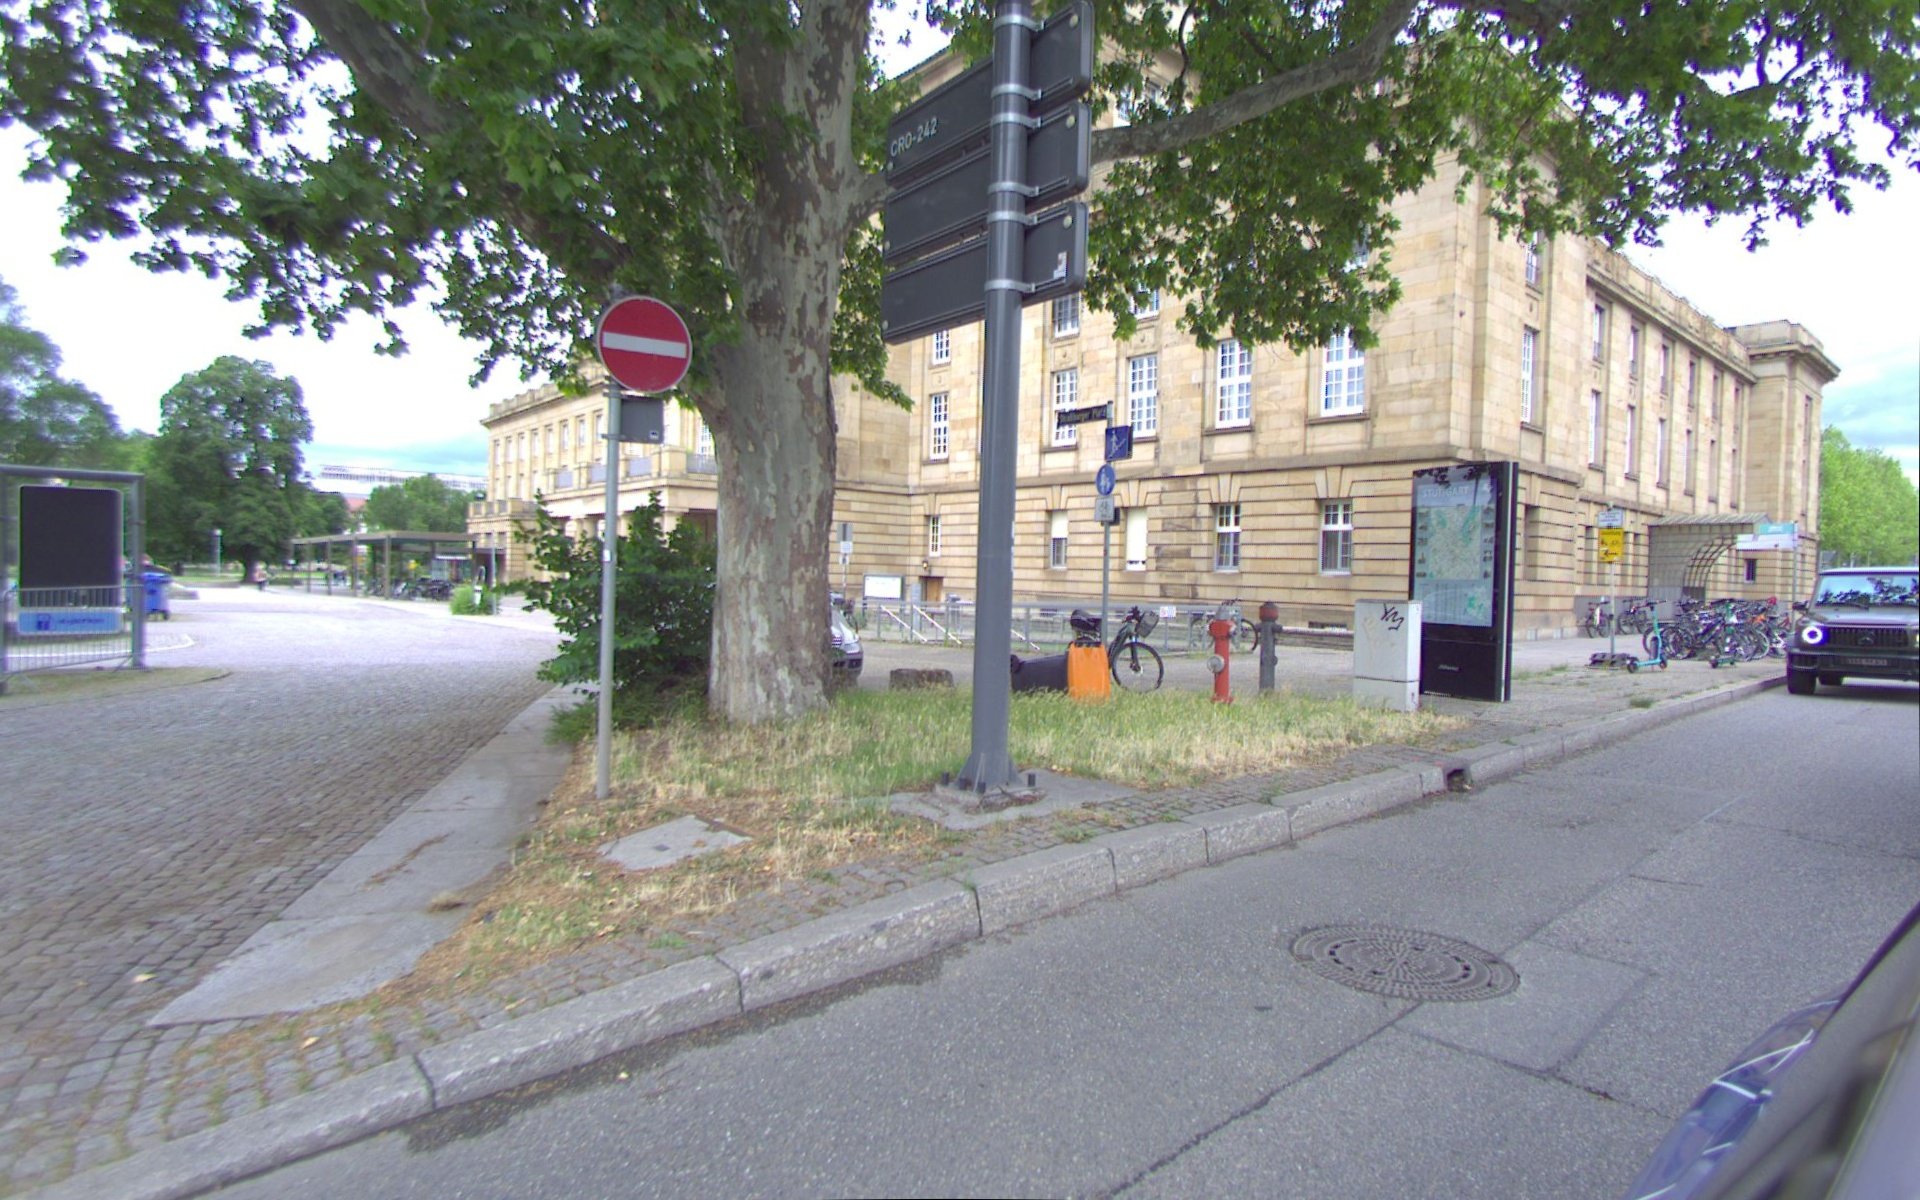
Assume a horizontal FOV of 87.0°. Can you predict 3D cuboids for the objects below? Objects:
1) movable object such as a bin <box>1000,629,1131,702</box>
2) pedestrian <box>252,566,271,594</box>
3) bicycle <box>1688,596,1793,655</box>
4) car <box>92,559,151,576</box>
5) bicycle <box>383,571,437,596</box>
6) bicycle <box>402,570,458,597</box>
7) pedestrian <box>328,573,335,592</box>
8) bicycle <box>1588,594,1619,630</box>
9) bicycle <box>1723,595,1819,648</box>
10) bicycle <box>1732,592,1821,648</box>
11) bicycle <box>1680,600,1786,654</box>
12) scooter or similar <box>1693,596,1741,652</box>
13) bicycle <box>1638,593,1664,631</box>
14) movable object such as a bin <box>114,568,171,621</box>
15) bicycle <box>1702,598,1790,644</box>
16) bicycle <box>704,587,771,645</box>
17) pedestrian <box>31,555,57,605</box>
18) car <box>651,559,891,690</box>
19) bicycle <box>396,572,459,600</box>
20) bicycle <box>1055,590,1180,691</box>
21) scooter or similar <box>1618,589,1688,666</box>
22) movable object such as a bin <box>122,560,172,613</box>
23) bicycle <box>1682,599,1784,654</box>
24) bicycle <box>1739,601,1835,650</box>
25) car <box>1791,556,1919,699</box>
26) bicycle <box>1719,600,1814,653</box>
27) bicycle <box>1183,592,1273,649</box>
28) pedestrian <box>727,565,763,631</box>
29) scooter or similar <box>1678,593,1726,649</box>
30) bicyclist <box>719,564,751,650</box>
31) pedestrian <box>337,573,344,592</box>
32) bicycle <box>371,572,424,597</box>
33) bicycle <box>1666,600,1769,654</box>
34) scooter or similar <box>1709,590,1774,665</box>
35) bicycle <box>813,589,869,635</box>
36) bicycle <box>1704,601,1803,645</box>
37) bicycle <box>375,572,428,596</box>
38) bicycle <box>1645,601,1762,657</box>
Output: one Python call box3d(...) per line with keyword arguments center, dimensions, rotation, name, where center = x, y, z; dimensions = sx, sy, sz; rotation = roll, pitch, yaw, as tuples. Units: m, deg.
box3d(center=(1.090, 0.665, 10.688), dimensions=(0.715, 0.660, 1.304), rotation=(-1, 0, -32), name="movable object such as a bin")
box3d(center=(-47.601, -1.360, 68.983), dimensions=(0.539, 1.828, 0.939), rotation=(-1, 0, 22), name="pedestrian")
box3d(center=(17.064, 0.536, 22.147), dimensions=(0.594, 1.224, 1.759), rotation=(0, 0, -43), name="bicycle")
box3d(center=(-91.597, -3.495, 110.646), dimensions=(4.823, 1.761, 2.077), rotation=(-1, 0, -38), name="car")
box3d(center=(-30.179, -0.912, 55.571), dimensions=(2.534, 1.362, 0.726), rotation=(-1, 0, -41), name="bicycle")
box3d(center=(-28.250, -0.876, 53.999), dimensions=(2.534, 1.362, 0.726), rotation=(-1, 0, -41), name="bicycle")
box3d(center=(-61.862, -1.732, 99.612), dimensions=(0.534, 1.828, 0.654), rotation=(-1, 0, -23), name="pedestrian")
box3d(center=(18.984, 0.331, 29.827), dimensions=(1.929, 1.010, 0.240), rotation=(-1, 1, -42), name="bicycle")
box3d(center=(18.032, 0.472, 22.531), dimensions=(1.596, 1.144, 0.405), rotation=(0, 0, 24), name="bicycle")
box3d(center=(19.048, 0.451, 23.648), dimensions=(0.532, 1.272, 1.550), rotation=(0, 0, -22), name="bicycle")
box3d(center=(16.689, 0.567, 21.896), dimensions=(0.563, 1.105, 1.735), rotation=(0, 0, -32), name="bicycle")
box3d(center=(17.455, 0.543, 23.335), dimensions=(1.286, 1.239, 0.427), rotation=(-1, 0, -31), name="scooter or similar")
box3d(center=(22.410, 0.386, 32.808), dimensions=(1.510, 1.197, 0.276), rotation=(0, 0, -39), name="bicycle")
box3d(center=(-21.130, -0.147, 26.187), dimensions=(1.132, 1.320, 1.412), rotation=(0, 1, -38), name="movable object such as a bin")
box3d(center=(18.328, 0.471, 23.625), dimensions=(0.427, 1.041, 1.570), rotation=(0, 0, -29), name="bicycle")
box3d(center=(-4.665, 0.310, 21.140), dimensions=(1.748, 1.146, 0.437), rotation=(2, 1, 42), name="bicycle")
box3d(center=(-34.130, -0.731, 37.707), dimensions=(0.493, 1.828, 0.544), rotation=(-1, 0, 22), name="pedestrian")
box3d(center=(-2.782, 0.245, 14.266), dimensions=(1.649, 1.588, 3.843), rotation=(0, 1, -40), name="car")
box3d(center=(-28.403, -0.724, 54.042), dimensions=(2.852, 1.443, 0.959), rotation=(-1, 0, -45), name="bicycle")
box3d(center=(2.064, 0.498, 13.490), dimensions=(0.483, 1.236, 1.790), rotation=(0, 1, -38), name="bicycle")
box3d(center=(12.033, 0.460, 17.563), dimensions=(1.405, 1.296, 0.433), rotation=(0, 0, -30), name="scooter or similar")
box3d(center=(-23.968, -0.402, 29.866), dimensions=(1.132, 1.515, 1.412), rotation=(0, 1, -38), name="movable object such as a bin")
box3d(center=(16.426, 0.539, 21.554), dimensions=(0.373, 1.105, 1.736), rotation=(0, 1, -28), name="bicycle")
box3d(center=(19.427, 0.578, 23.814), dimensions=(0.573, 1.087, 1.671), rotation=(0, 1, -21), name="bicycle")
box3d(center=(14.436, 0.362, 15.506), dimensions=(4.322, 1.950, 1.951), rotation=(0, 1, -41), name="car")
box3d(center=(18.040, 0.584, 22.672), dimensions=(1.596, 1.144, 0.466), rotation=(0, 0, 24), name="bicycle")
box3d(center=(5.730, 0.420, 21.750), dimensions=(0.382, 1.139, 2.014), rotation=(0, 1, -41), name="bicycle")
box3d(center=(-5.842, -0.068, 27.448), dimensions=(0.692, 1.743, 0.680), rotation=(0, 1, -42), name="pedestrian")
box3d(center=(17.345, 0.477, 23.657), dimensions=(1.126, 1.295, 0.564), rotation=(0, 0, -35), name="scooter or similar")
box3d(center=(-4.710, 0.141, 21.163), dimensions=(0.436, 1.770, 0.468), rotation=(2, 1, 42), name="bicyclist")
box3d(center=(-61.183, -1.743, 99.934), dimensions=(0.534, 1.828, 0.654), rotation=(-1, 0, -23), name="pedestrian")
box3d(center=(-31.985, -0.893, 57.581), dimensions=(2.534, 1.362, 0.726), rotation=(-1, 0, -41), name="bicycle")
box3d(center=(16.017, 0.547, 21.435), dimensions=(0.417, 1.105, 1.736), rotation=(0, 0, -28), name="bicycle")
box3d(center=(14.485, 0.482, 18.744), dimensions=(1.389, 1.348, 0.726), rotation=(0, 0, -42), name="scooter or similar")
box3d(center=(-2.977, 0.275, 25.061), dimensions=(0.418, 1.114, 2.172), rotation=(0, 0, -34), name="bicycle")
box3d(center=(18.469, 0.521, 23.602), dimensions=(0.601, 0.928, 1.737), rotation=(0, 1, -22), name="bicycle")
box3d(center=(-31.355, -0.899, 56.835), dimensions=(2.534, 1.362, 0.726), rotation=(-1, 0, -41), name="bicycle")
box3d(center=(15.406, 0.574, 21.030), dimensions=(0.652, 1.105, 1.866), rotation=(0, 0, -28), name="bicycle")
